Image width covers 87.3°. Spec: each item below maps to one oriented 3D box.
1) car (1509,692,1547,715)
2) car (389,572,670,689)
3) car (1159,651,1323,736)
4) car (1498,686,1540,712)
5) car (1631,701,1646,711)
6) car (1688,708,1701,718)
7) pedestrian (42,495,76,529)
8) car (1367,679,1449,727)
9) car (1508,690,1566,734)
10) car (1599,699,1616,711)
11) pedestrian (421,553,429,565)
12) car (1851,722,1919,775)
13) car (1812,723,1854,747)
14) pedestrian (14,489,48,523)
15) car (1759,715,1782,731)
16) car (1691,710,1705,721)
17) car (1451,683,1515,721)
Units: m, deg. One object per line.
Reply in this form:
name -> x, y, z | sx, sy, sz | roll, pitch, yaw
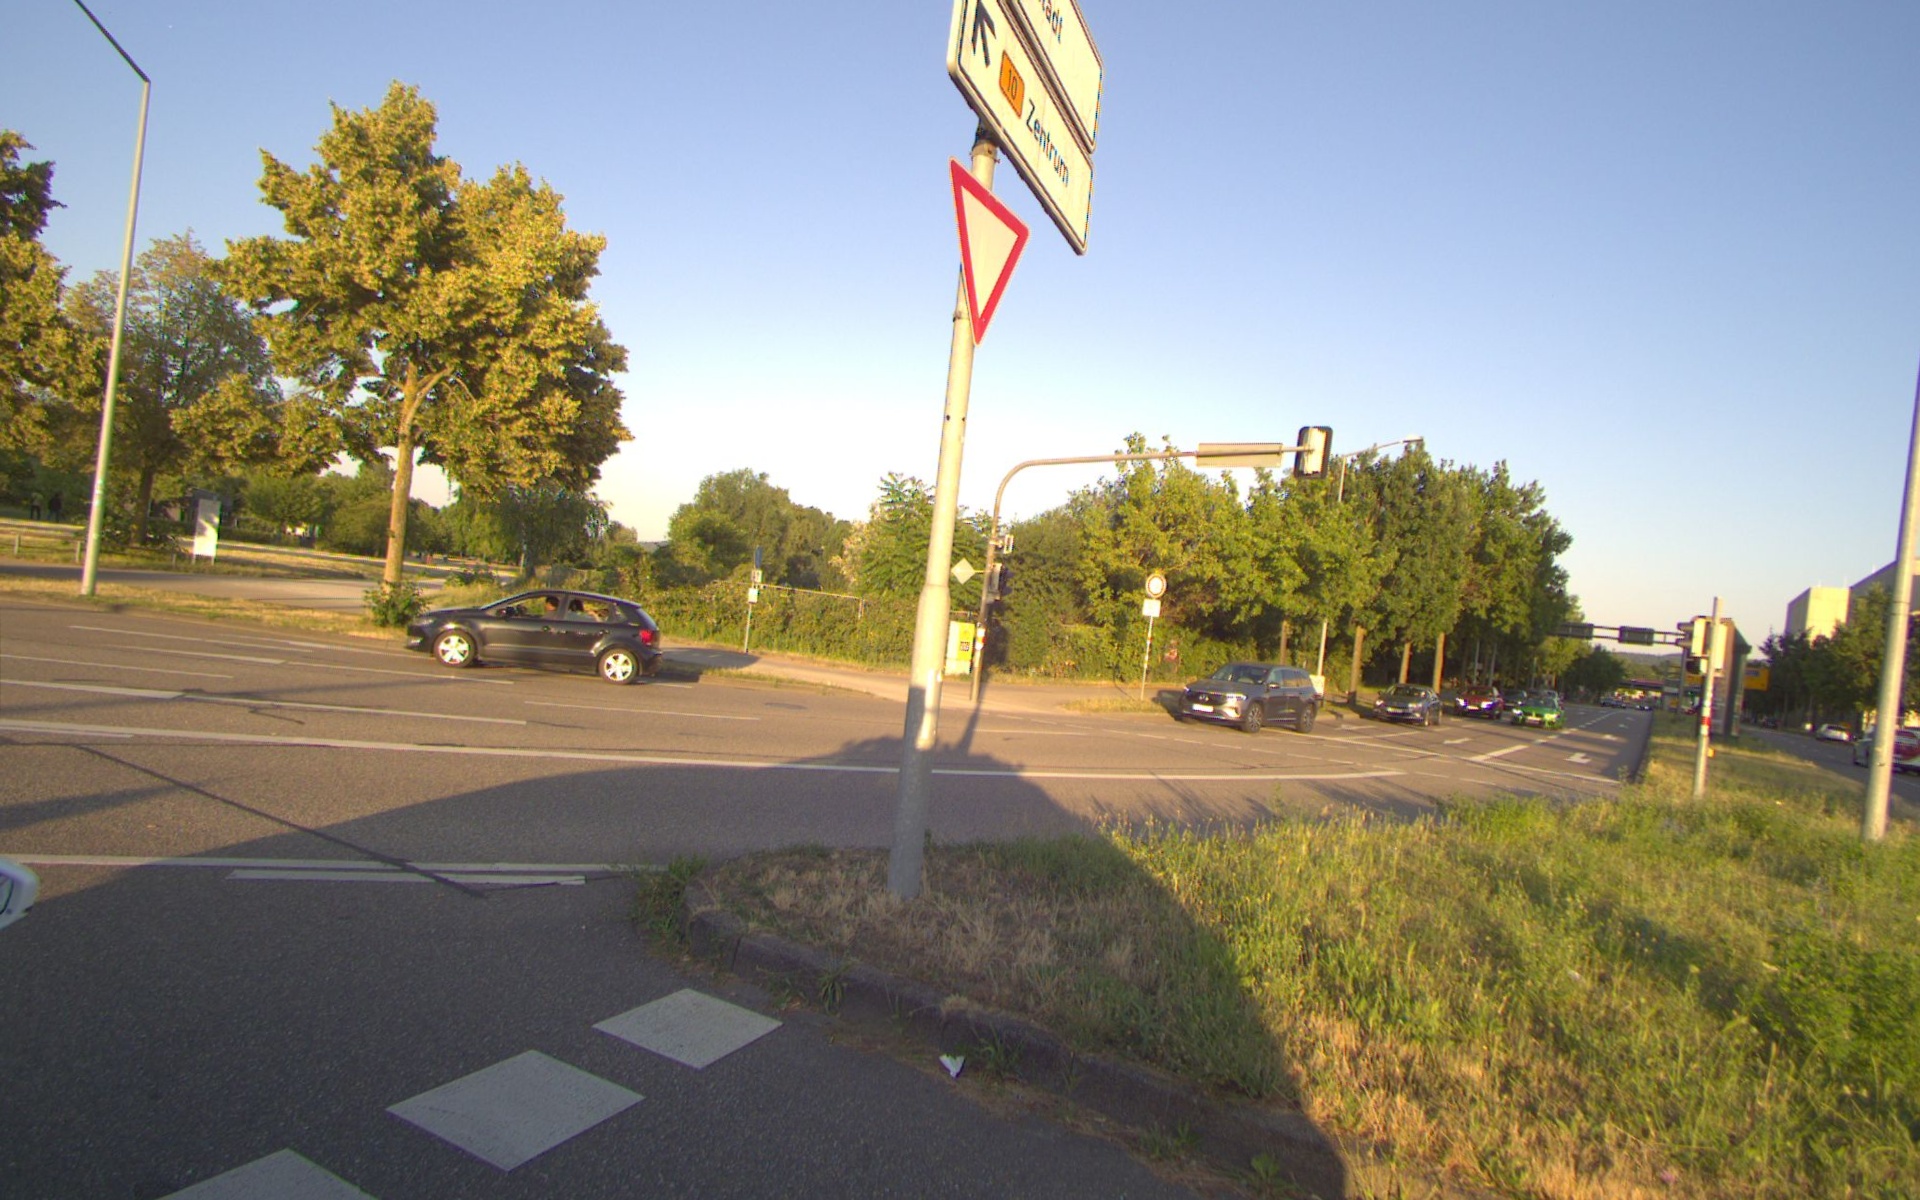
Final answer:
car -> 42.426, 7.740, 75.093 | 1.839, 1.406, 4.150 | 7, -1, 36
car -> -6.903, 0.492, 16.566 | 3.939, 1.370, 1.689 | 8, -1, -16
car -> 6.942, 2.315, 24.537 | 1.972, 1.657, 4.506 | 7, -1, 41
car -> 36.498, 6.476, 65.611 | 1.839, 1.406, 4.151 | 7, -1, 36
car -> 121.256, 18.937, 179.679 | 1.969, 1.523, 4.758 | 7, -1, 35
car -> 153.395, 23.558, 210.110 | 1.969, 1.804, 3.988 | 7, -1, 37
pedestrian -> -49.352, -4.821, 55.101 | 0.896, 1.637, 1.070 | 7, 0, 34
car -> 16.533, 3.794, 37.021 | 1.858, 1.481, 4.658 | 3, -3, 35
car -> 26.386, 5.060, 45.948 | 1.967, 1.598, 4.477 | 8, 0, 32
car -> 101.993, 16.518, 158.536 | 1.886, 1.602, 4.168 | 7, -1, 36
pedestrian -> -82.689, -6.353, 155.541 | 0.846, 1.681, 0.970 | 7, 0, -33
car -> 41.999, 6.659, 45.349 | 2.036, 1.970, 4.947 | 7, -1, 35
car -> 72.084, 11.114, 83.146 | 1.969, 1.527, 5.171 | 7, -1, 36
pedestrian -> -50.196, -5.090, 54.374 | 0.896, 1.637, 1.070 | 7, 0, 34
car -> 102.284, 15.515, 127.028 | 1.969, 1.593, 3.988 | 7, -1, 37
car -> 134.098, 21.006, 182.800 | 1.969, 1.804, 3.988 | 7, -1, 37
car -> 26.868, 5.246, 51.609 | 1.970, 1.592, 4.400 | 7, -1, 38
